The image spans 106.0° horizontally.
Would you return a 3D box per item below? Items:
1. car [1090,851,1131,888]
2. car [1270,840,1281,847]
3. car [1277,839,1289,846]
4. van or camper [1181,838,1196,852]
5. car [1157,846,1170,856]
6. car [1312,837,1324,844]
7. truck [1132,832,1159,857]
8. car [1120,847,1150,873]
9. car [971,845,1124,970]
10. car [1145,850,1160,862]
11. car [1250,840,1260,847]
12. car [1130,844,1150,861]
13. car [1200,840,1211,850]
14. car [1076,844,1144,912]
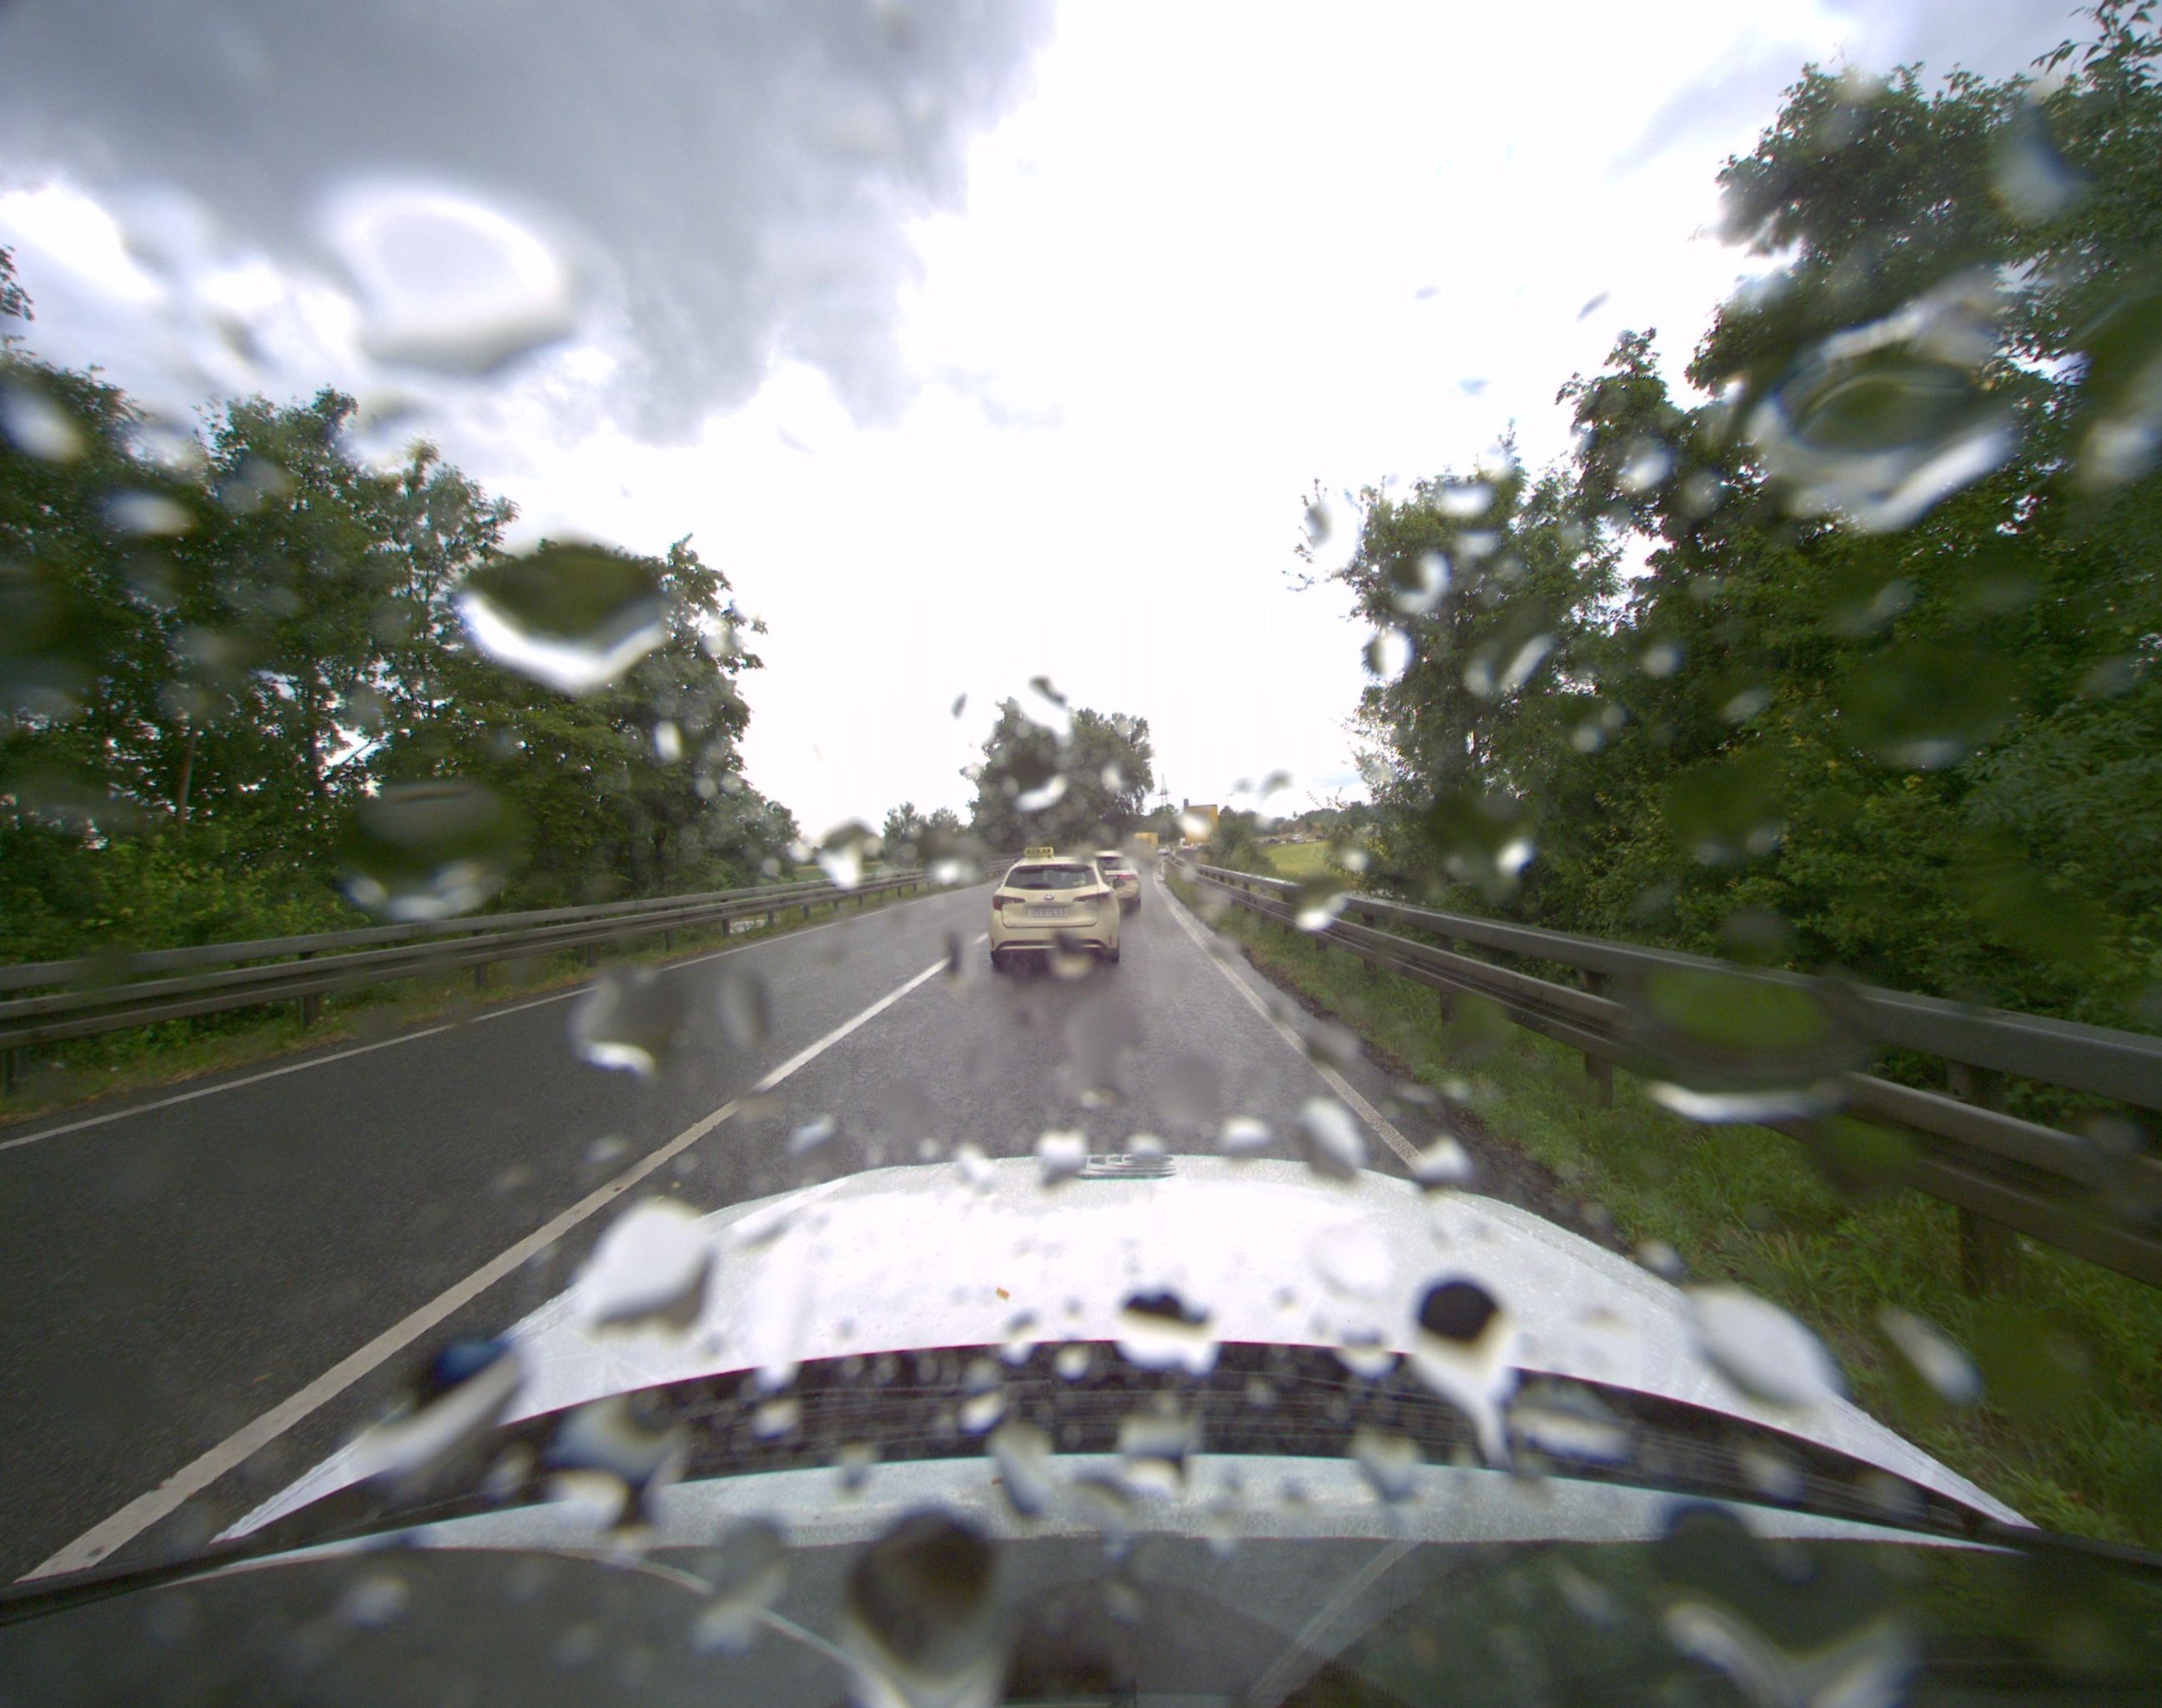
[{"bbox_3d":[1.262,0.611,33.664,1.498,1.437,3.361,-1,0,5],"label":"car"},{"bbox_3d":[52.046,-2.872,217.911,1.801,1.838,4.013,-1,0,28],"label":"car"},{"bbox_3d":[56.271,-3.155,226.401,1.974,2.014,4.025,-1,0,33],"label":"car"},{"bbox_3d":[18.090,-1.433,136.816,1.979,2.254,4.015,-1,0,13],"label":"van or camper"},{"bbox_3d":[11.037,-0.370,109.065,1.474,1.309,3.485,-1,0,8],"label":"car"},{"bbox_3d":[72.462,-4.228,249.014,2.120,2.014,4.025,-1,0,37],"label":"car"},{"bbox_3d":[9.741,-1.477,121.982,2.751,3.428,9.222,1,3,13],"label":"truck"},{"bbox_3d":[3.204,0.330,48.891,1.659,1.464,3.478,-1,0,1],"label":"car"},{"bbox_3d":[-0.332,0.669,12.320,1.898,1.537,4.164,-1,0,2],"label":"car"},{"bbox_3d":[8.050,0.212,91.526,1.474,1.309,3.486,-1,0,9],"label":"car"},{"bbox_3d":[43.708,-2.584,204.478,1.903,1.838,4.021,-1,0,22],"label":"car"},{"bbox_3d":[5.443,-0.117,74.781,1.652,1.409,3.911,-1,-1,6],"label":"car"},{"bbox_3d":[23.930,-1.719,156.262,1.720,1.819,4.014,-1,0,12],"label":"car"},{"bbox_3d":[0.804,0.562,20.943,1.571,1.572,3.685,-1,0,4],"label":"car"}]
